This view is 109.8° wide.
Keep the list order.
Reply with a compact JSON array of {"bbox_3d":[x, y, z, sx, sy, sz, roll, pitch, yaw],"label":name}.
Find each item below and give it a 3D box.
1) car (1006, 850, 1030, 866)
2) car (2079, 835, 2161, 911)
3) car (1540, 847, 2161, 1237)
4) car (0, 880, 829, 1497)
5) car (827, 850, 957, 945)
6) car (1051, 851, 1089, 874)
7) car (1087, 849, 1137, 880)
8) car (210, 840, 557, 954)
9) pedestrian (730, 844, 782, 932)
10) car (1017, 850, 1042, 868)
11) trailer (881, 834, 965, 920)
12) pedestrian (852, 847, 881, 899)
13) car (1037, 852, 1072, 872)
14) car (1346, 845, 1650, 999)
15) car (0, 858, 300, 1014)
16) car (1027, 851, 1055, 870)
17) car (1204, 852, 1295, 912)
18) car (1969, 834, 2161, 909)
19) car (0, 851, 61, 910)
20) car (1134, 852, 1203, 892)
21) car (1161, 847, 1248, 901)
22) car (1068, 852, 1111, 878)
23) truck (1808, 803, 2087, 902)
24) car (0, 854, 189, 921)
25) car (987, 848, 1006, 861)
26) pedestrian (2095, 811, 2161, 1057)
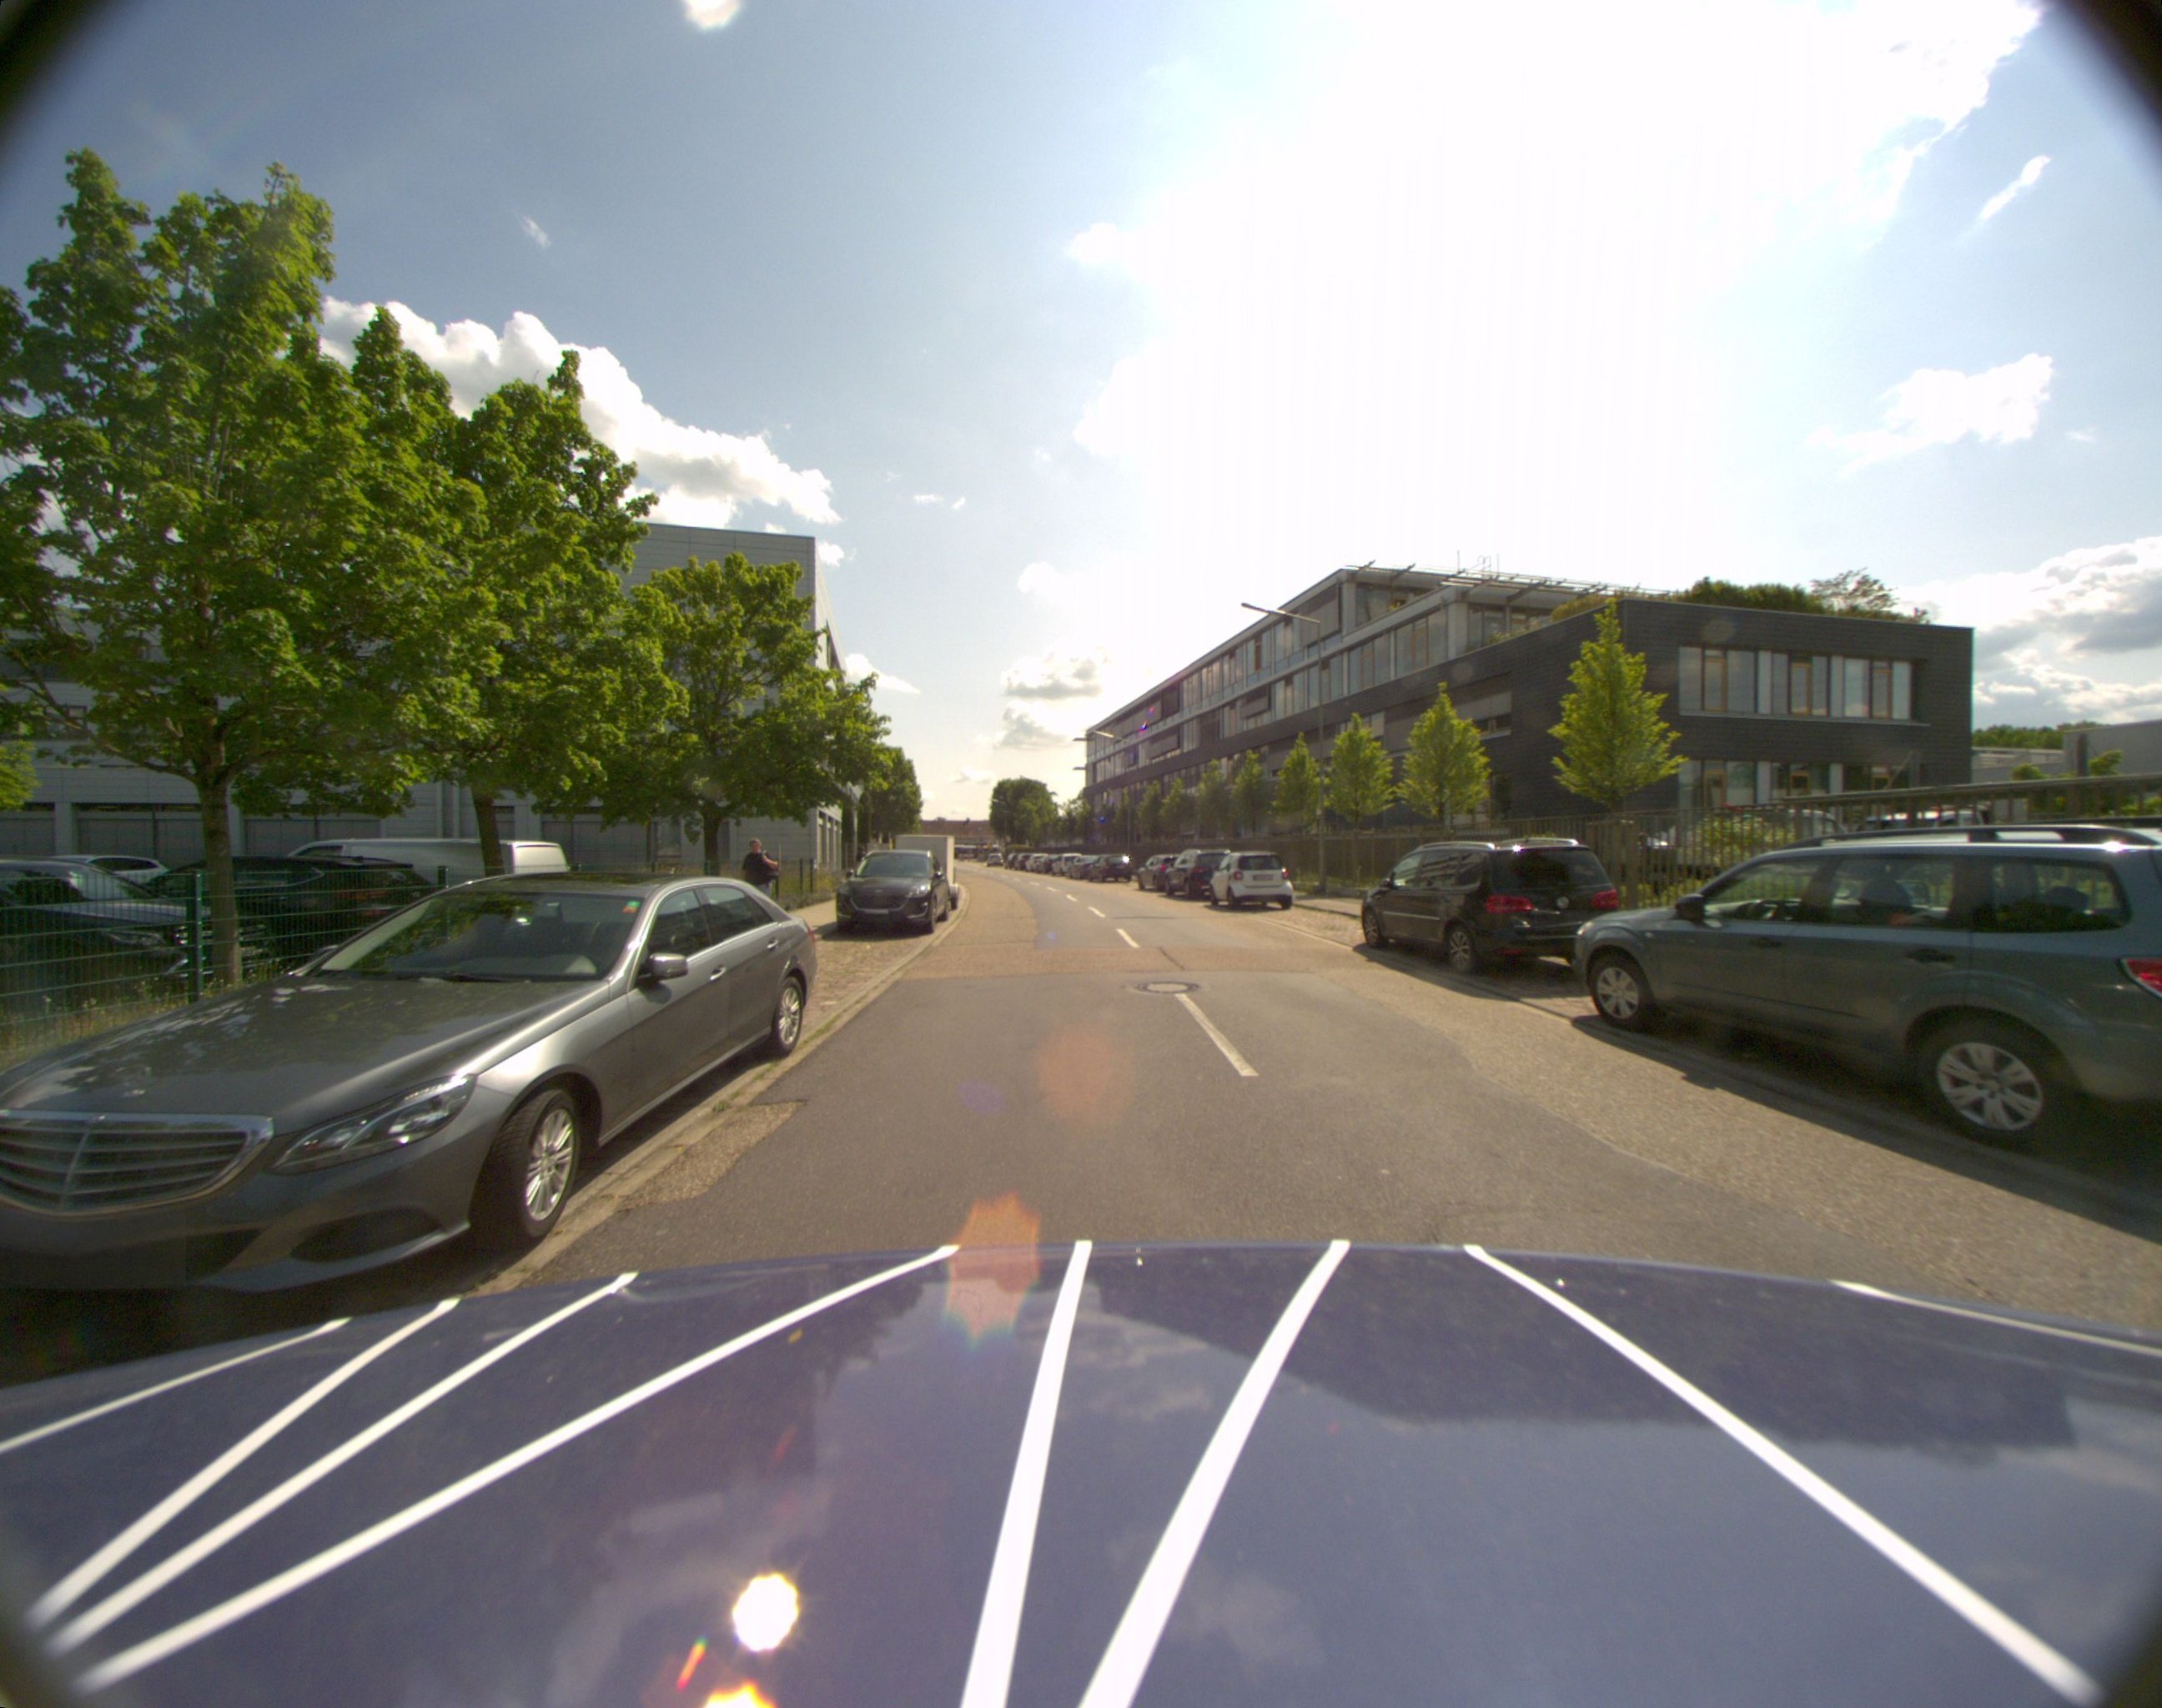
[{"bbox_3d":[-5.997,0.332,72.035,1.569,1.507,4.030,0,0,-14],"label":"car"},{"bbox_3d":[25.669,0.401,17.554,4.002,1.679,1.745,0,1,-14],"label":"car"},{"bbox_3d":[5.533,0.807,5.191,1.804,1.641,4.688,-2,1,-2],"label":"car"},{"bbox_3d":[-3.157,1.014,4.504,1.846,1.452,4.867,1,1,-2],"label":"car"},{"bbox_3d":[-3.842,0.788,16.248,1.866,1.673,4.708,2,1,-4],"label":"car"},{"bbox_3d":[-0.805,0.549,51.618,1.668,1.473,3.511,-2,1,-16],"label":"car"},{"bbox_3d":[1.617,0.557,41.135,1.667,1.521,3.995,-2,1,-13],"label":"car"},{"bbox_3d":[-12.772,0.745,14.212,4.480,1.955,1.999,1,2,-4],"label":"car"},{"bbox_3d":[-6.387,0.658,14.974,0.723,1.684,0.739,2,1,-6],"label":"pedestrian"},{"bbox_3d":[-4.538,0.434,66.953,1.569,1.507,3.738,0,0,-14],"label":"car"},{"bbox_3d":[-4.167,0.547,20.576,1.751,2.055,3.945,2,1,-6],"label":"trailer"},{"bbox_3d":[-6.905,0.609,24.452,0.729,1.637,0.579,4,0,-7],"label":"pedestrian"},{"bbox_3d":[-2.010,0.542,56.528,1.672,1.396,3.994,-1,1,-15],"label":"car"},{"bbox_3d":[5.455,0.738,10.674,1.780,1.673,4.228,-2,1,-3],"label":"car"},{"bbox_3d":[-12.408,0.930,8.890,4.338,1.586,1.856,-2,1,-5],"label":"car"},{"bbox_3d":[-3.269,0.523,61.535,1.569,1.446,3.738,0,0,-14],"label":"car"},{"bbox_3d":[4.619,0.726,21.229,1.613,1.514,3.072,-1,1,-6],"label":"car"},{"bbox_3d":[25.251,0.398,19.417,4.002,1.679,1.745,-2,1,-14],"label":"car"},{"bbox_3d":[-31.854,0.813,21.157,1.958,1.642,3.994,-2,2,-14],"label":"car"},{"bbox_3d":[3.495,0.674,30.968,1.739,1.437,3.927,-2,1,-10],"label":"car"},{"bbox_3d":[4.078,0.599,25.848,1.739,1.646,4.307,-1,1,-8],"label":"car"},{"bbox_3d":[0.487,0.615,46.289,1.667,1.389,4.100,-2,1,-13],"label":"car"},{"bbox_3d":[25.212,-0.079,22.172,6.937,2.642,2.402,-1,1,-13],"label":"truck"},{"bbox_3d":[-29.278,0.897,22.231,1.736,1.671,4.527,-2,2,-14],"label":"car"},{"bbox_3d":[-9.836,0.069,88.388,1.679,1.506,3.739,0,0,-14],"label":"car"},{"bbox_3d":[8.091,0.558,5.326,0.830,1.751,0.845,-2,1,4],"label":"pedestrian"}]
